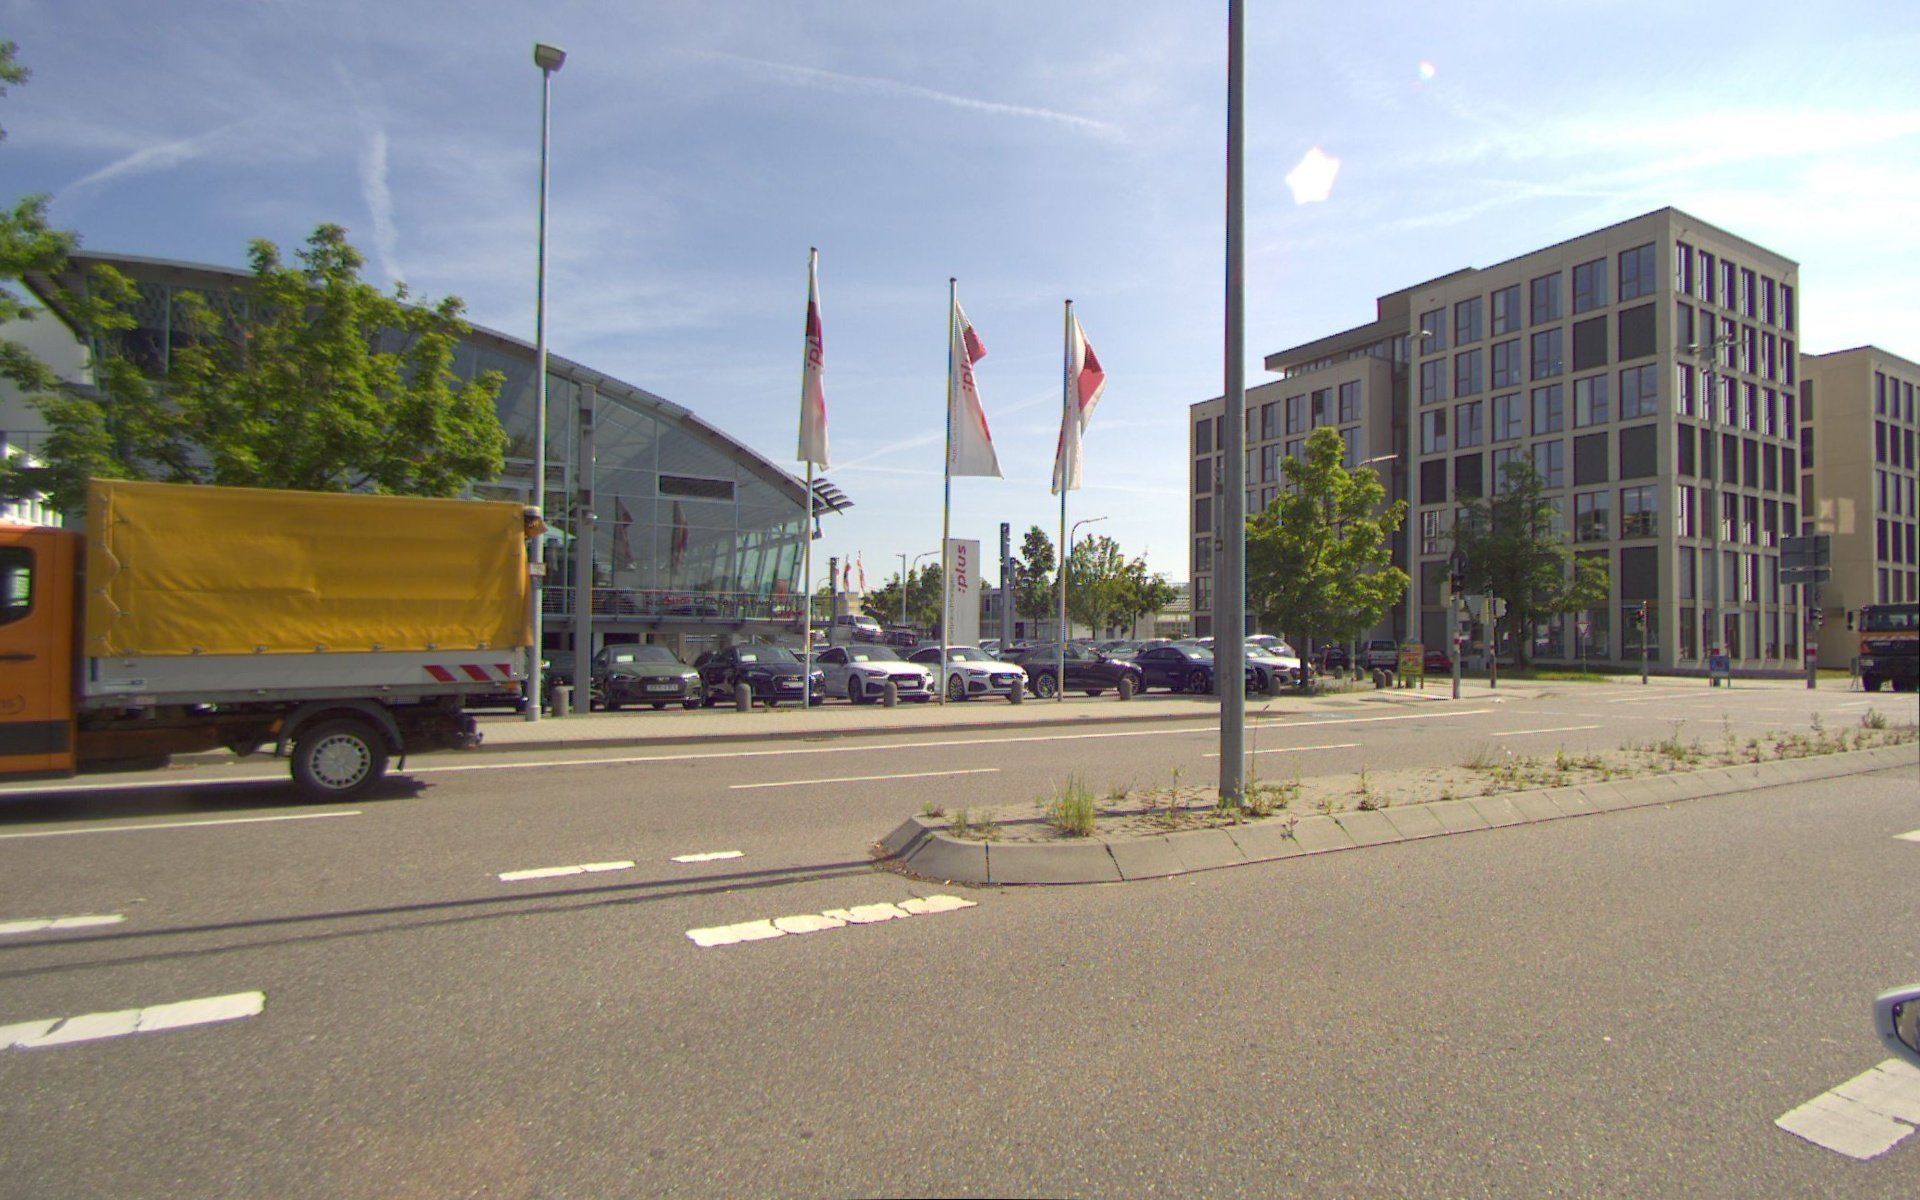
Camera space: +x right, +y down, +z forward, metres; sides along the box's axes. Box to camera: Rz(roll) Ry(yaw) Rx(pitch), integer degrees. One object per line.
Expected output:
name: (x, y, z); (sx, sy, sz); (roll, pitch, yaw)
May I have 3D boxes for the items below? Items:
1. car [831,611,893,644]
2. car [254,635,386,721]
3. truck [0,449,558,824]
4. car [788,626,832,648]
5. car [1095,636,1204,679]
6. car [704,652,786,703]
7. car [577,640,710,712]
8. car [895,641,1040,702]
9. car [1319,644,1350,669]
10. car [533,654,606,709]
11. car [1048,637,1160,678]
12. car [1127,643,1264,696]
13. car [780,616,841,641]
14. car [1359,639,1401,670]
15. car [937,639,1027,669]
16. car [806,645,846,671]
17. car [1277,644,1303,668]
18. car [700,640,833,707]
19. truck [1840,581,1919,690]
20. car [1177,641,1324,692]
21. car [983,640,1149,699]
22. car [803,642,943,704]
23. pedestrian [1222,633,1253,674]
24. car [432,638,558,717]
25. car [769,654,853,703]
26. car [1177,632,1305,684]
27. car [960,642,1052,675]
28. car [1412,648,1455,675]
car: (-6.373, 1.745, 64.845); (2.066, 1.932, 4.508); (6, -4, -31)
car: (-11.575, 1.426, 18.325); (1.814, 1.372, 4.091); (2, -5, -31)
truck: (-7.039, 0.320, 8.346); (6.595, 2.659, 2.364); (2, -3, -30)
car: (-11.230, 2.742, 74.915); (1.976, 1.595, 3.956); (2, -1, -29)
car: (7.824, 2.327, 41.406); (4.325, 1.564, 1.779); (-1, -1, -31)
car: (-7.123, 2.505, 33.122); (1.647, 1.492, 3.491); (2, -2, -30)
car: (-6.760, 1.610, 21.188); (1.833, 1.352, 4.157); (2, -5, -30)
car: (0.093, 1.808, 25.214); (1.856, 1.387, 4.055); (2, -5, -30)
car: (24.462, 3.692, 65.693); (1.772, 1.533, 4.001); (-1, -2, 20)
car: (-11.832, 2.409, 30.311); (1.506, 1.492, 3.490); (2, -2, -31)
car: (6.236, 2.460, 43.398); (4.722, 1.525, 1.779); (-1, -1, -31)
car: (6.780, 1.971, 29.236); (1.744, 1.421, 3.815); (2, -3, -31)
car: (-12.699, 2.420, 85.334); (4.697, 2.040, 1.983); (2, -3, -32)
car: (26.295, 3.372, 63.003); (1.860, 1.845, 4.816); (0, -2, 16)
car: (1.192, 2.819, 53.000); (4.506, 1.461, 1.779); (0, -2, -31)
car: (-7.651, 3.301, 57.593); (1.762, 1.461, 4.028); (0, -2, -1)
car: (22.724, 3.837, 69.215); (1.628, 1.517, 3.965); (0, -2, 17)
car: (-4.405, 1.648, 22.403); (1.815, 1.336, 3.972); (2, -5, -29)
truck: (35.403, 1.335, 37.086); (7.506, 3.728, 2.728); (2, -3, -36)
car: (8.773, 1.984, 30.726); (1.876, 1.451, 4.356); (1, -3, -28)
car: (2.956, 1.868, 27.682); (4.373, 1.515, 1.789); (2, -2, -30)
car: (-2.154, 1.747, 23.888); (1.846, 1.336, 3.971); (2, -5, -30)
pedestrian: (12.180, 2.354, 44.078); (0.906, 1.772, 0.996); (2, -2, -30)
car: (-9.247, 1.532, 19.783); (1.809, 1.372, 4.261); (2, -5, -31)
car: (-5.147, 2.633, 34.377); (1.641, 1.492, 3.490); (2, -2, -31)
car: (10.226, 2.069, 36.482); (4.540, 1.635, 1.805); (-1, -1, -30)
car: (2.314, 2.904, 50.519); (4.351, 1.461, 1.779); (-1, -2, -31)
car: (28.161, 3.636, 59.833); (1.772, 1.434, 4.032); (-1, -2, 18)
